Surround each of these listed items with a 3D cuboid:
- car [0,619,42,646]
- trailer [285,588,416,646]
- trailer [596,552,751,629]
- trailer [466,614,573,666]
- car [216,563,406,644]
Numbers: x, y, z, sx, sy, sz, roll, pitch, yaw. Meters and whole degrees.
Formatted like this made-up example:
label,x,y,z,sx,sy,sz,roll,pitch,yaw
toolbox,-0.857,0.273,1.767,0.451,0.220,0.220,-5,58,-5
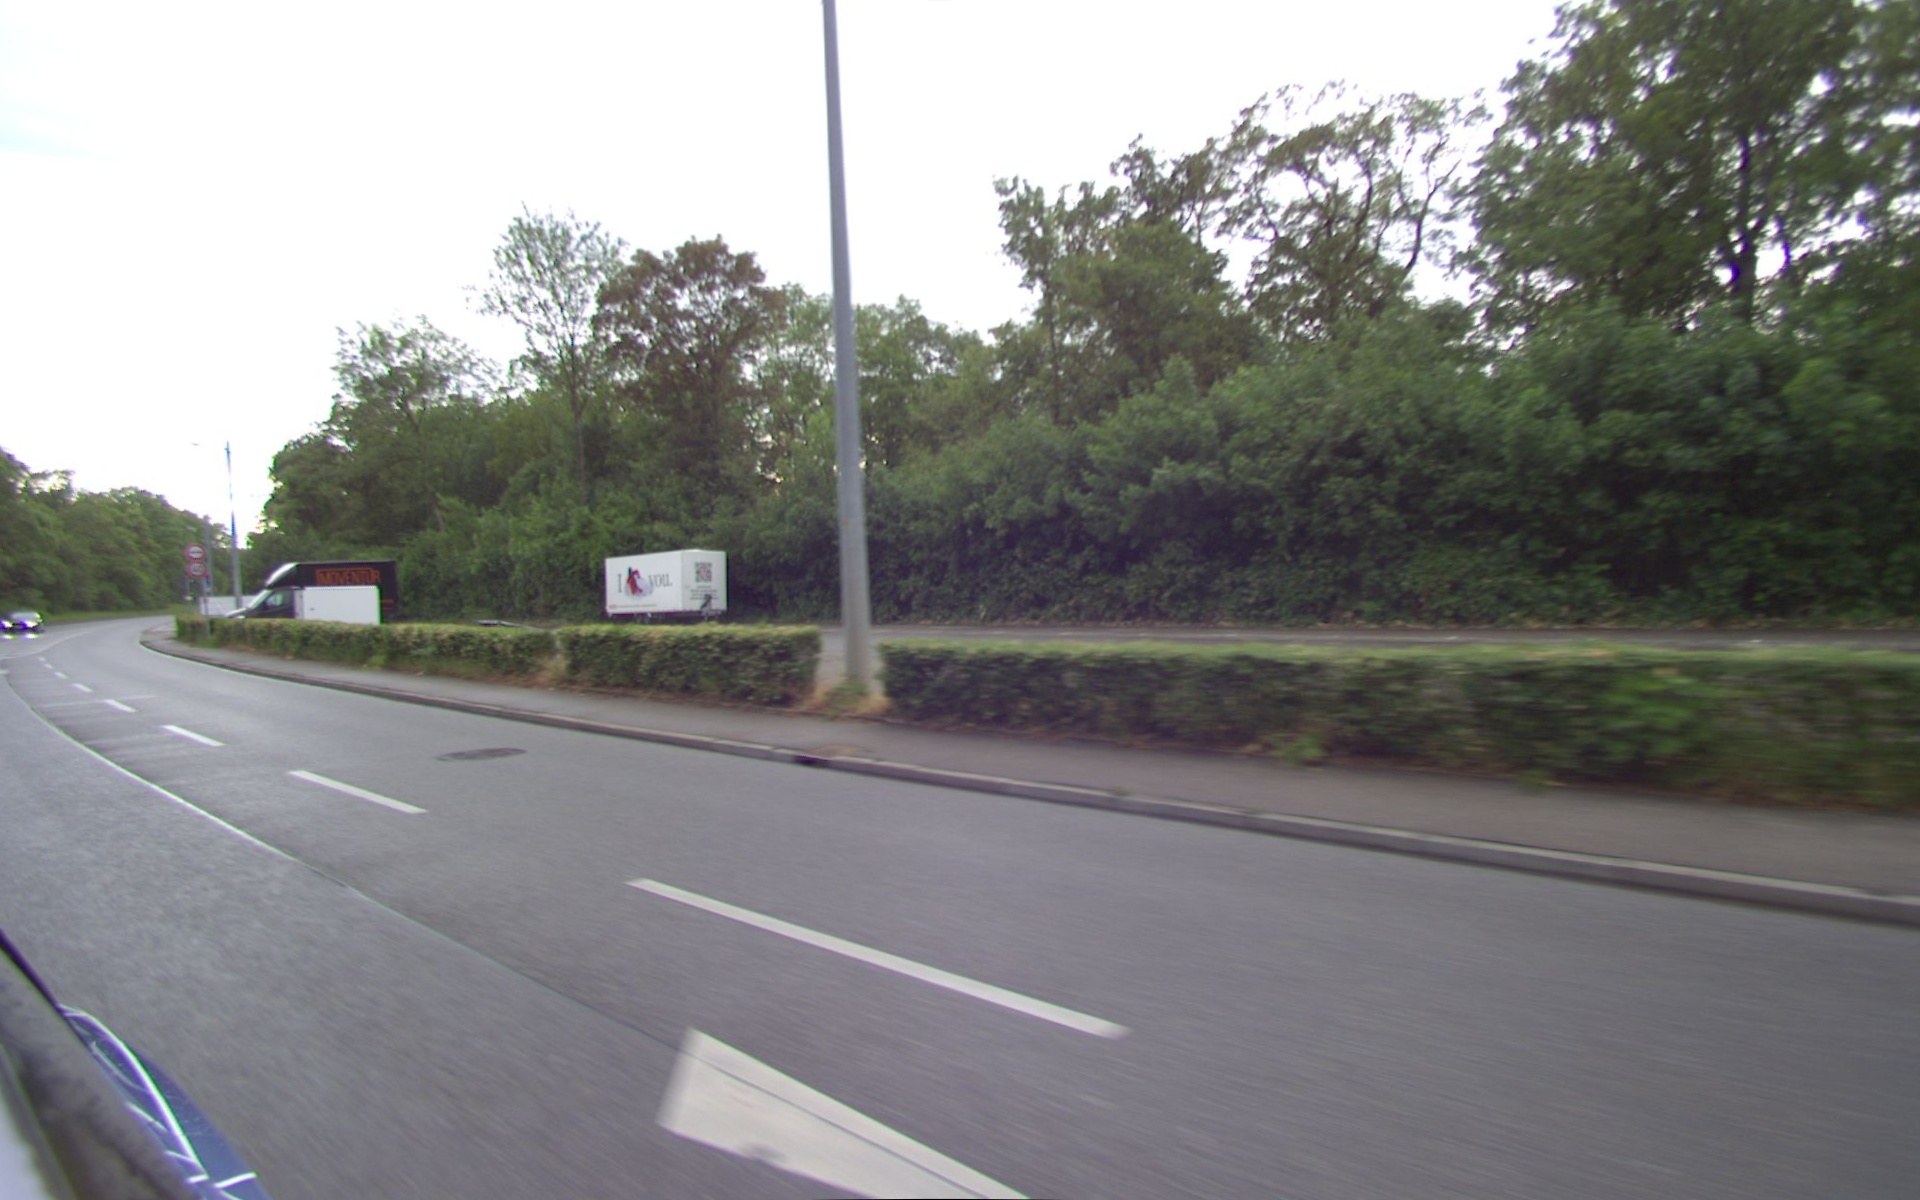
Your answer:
label,x,y,z,sx,sy,sz,roll,pitch,yaw
car,-62.989,2.163,67.620,1.967,1.696,4.009,-1,1,-36
trailer,-23.151,0.602,38.532,3.940,2.068,1.875,-2,0,-43
trailer,-11.965,-0.334,41.794,7.979,2.895,2.448,-1,0,44
trailer,-9.832,0.871,22.632,1.333,1.042,1.783,-1,1,40
car,-27.044,0.058,42.355,2.753,3.136,6.203,0,2,44
